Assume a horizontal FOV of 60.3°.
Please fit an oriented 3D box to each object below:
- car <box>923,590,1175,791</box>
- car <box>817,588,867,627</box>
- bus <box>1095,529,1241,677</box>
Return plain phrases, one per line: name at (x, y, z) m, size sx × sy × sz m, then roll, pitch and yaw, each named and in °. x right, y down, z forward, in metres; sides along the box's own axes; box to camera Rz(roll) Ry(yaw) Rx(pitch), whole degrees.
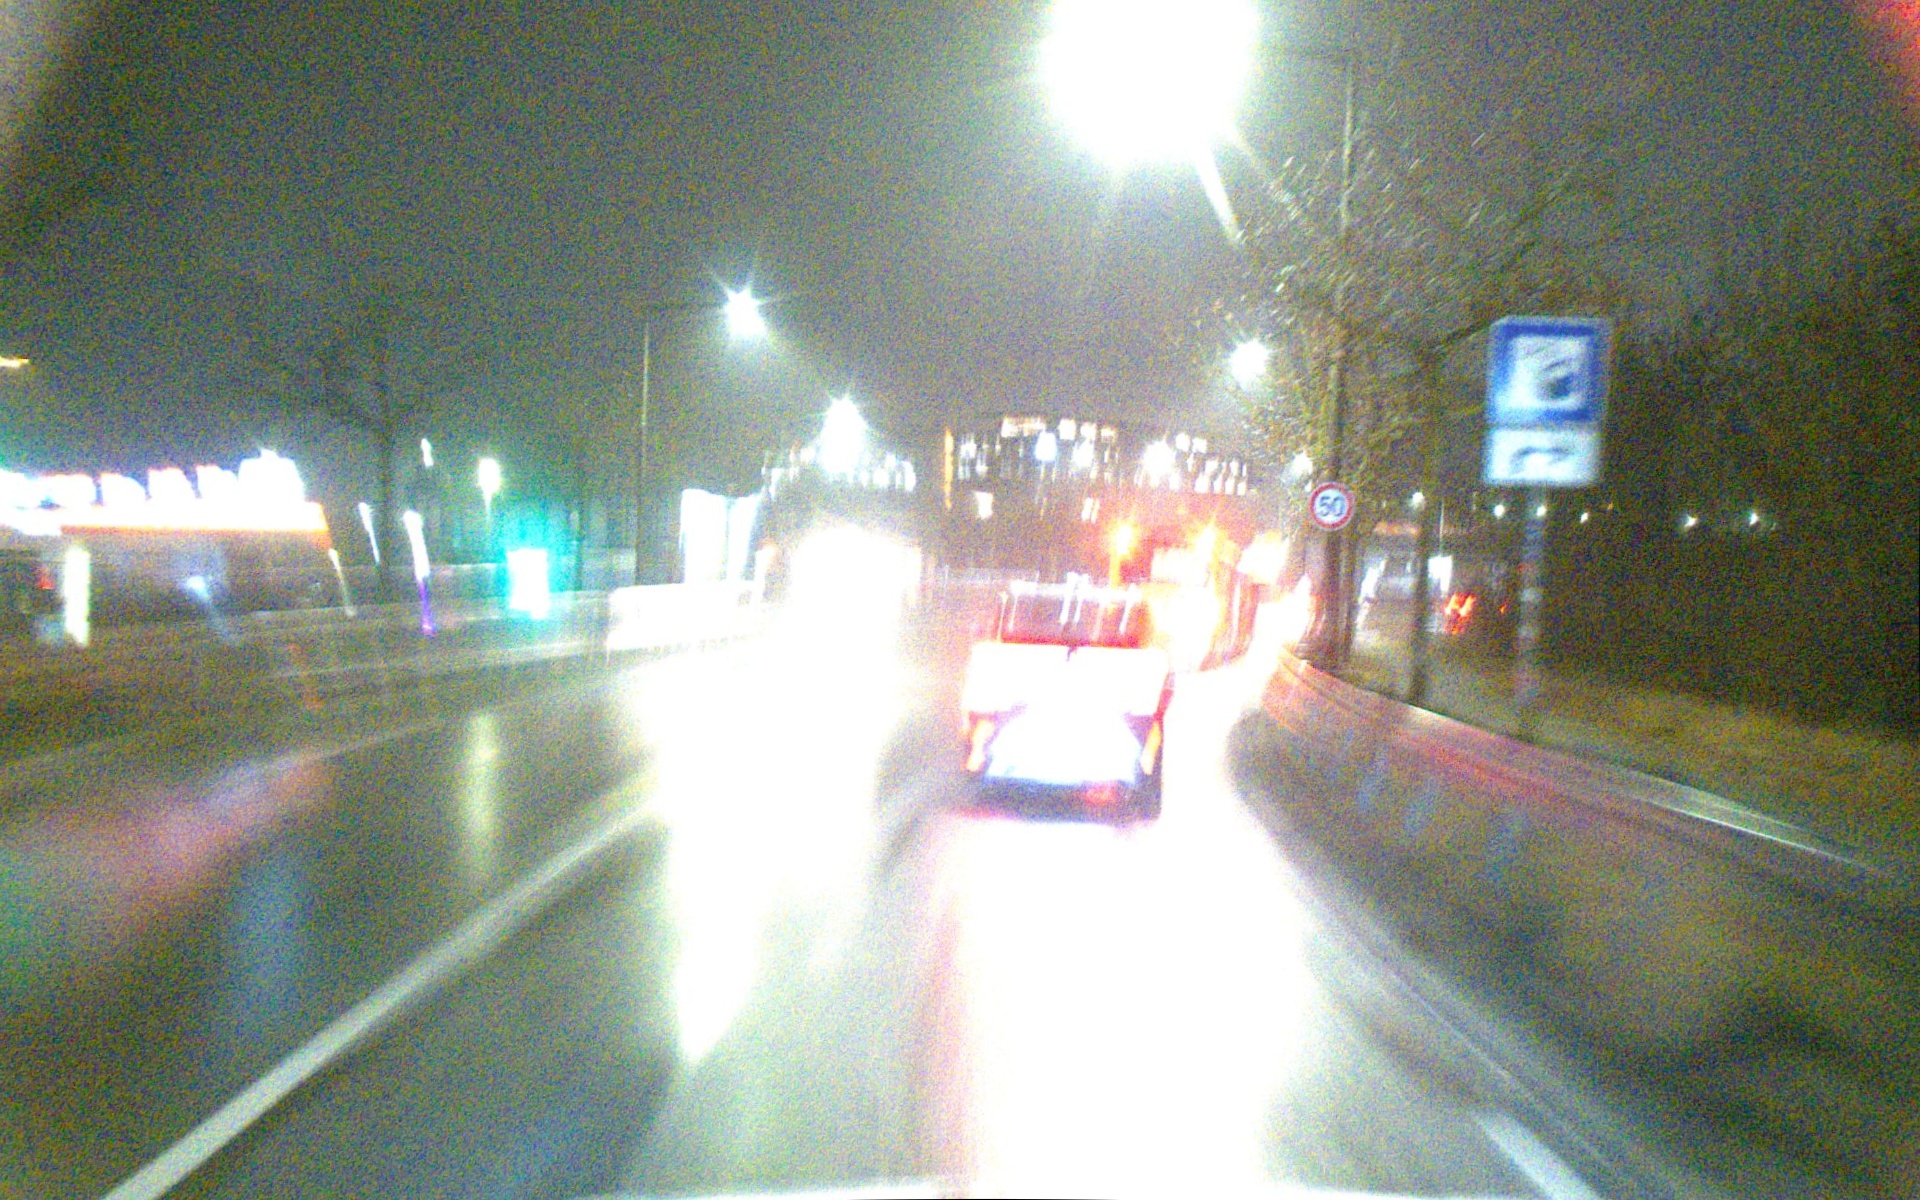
car at (0.833, 0.697, 14.850) m, size 1.951 × 1.551 × 4.002 m, roll 0°, pitch 0°, yaw 4°
car at (-4.910, 0.329, 69.188) m, size 1.789 × 1.530 × 4.187 m, roll 2°, pitch 0°, yaw 0°
bus at (5.411, 0.131, 41.544) m, size 2.978 × 3.269 × 9.057 m, roll -1°, pitch -1°, yaw 11°
